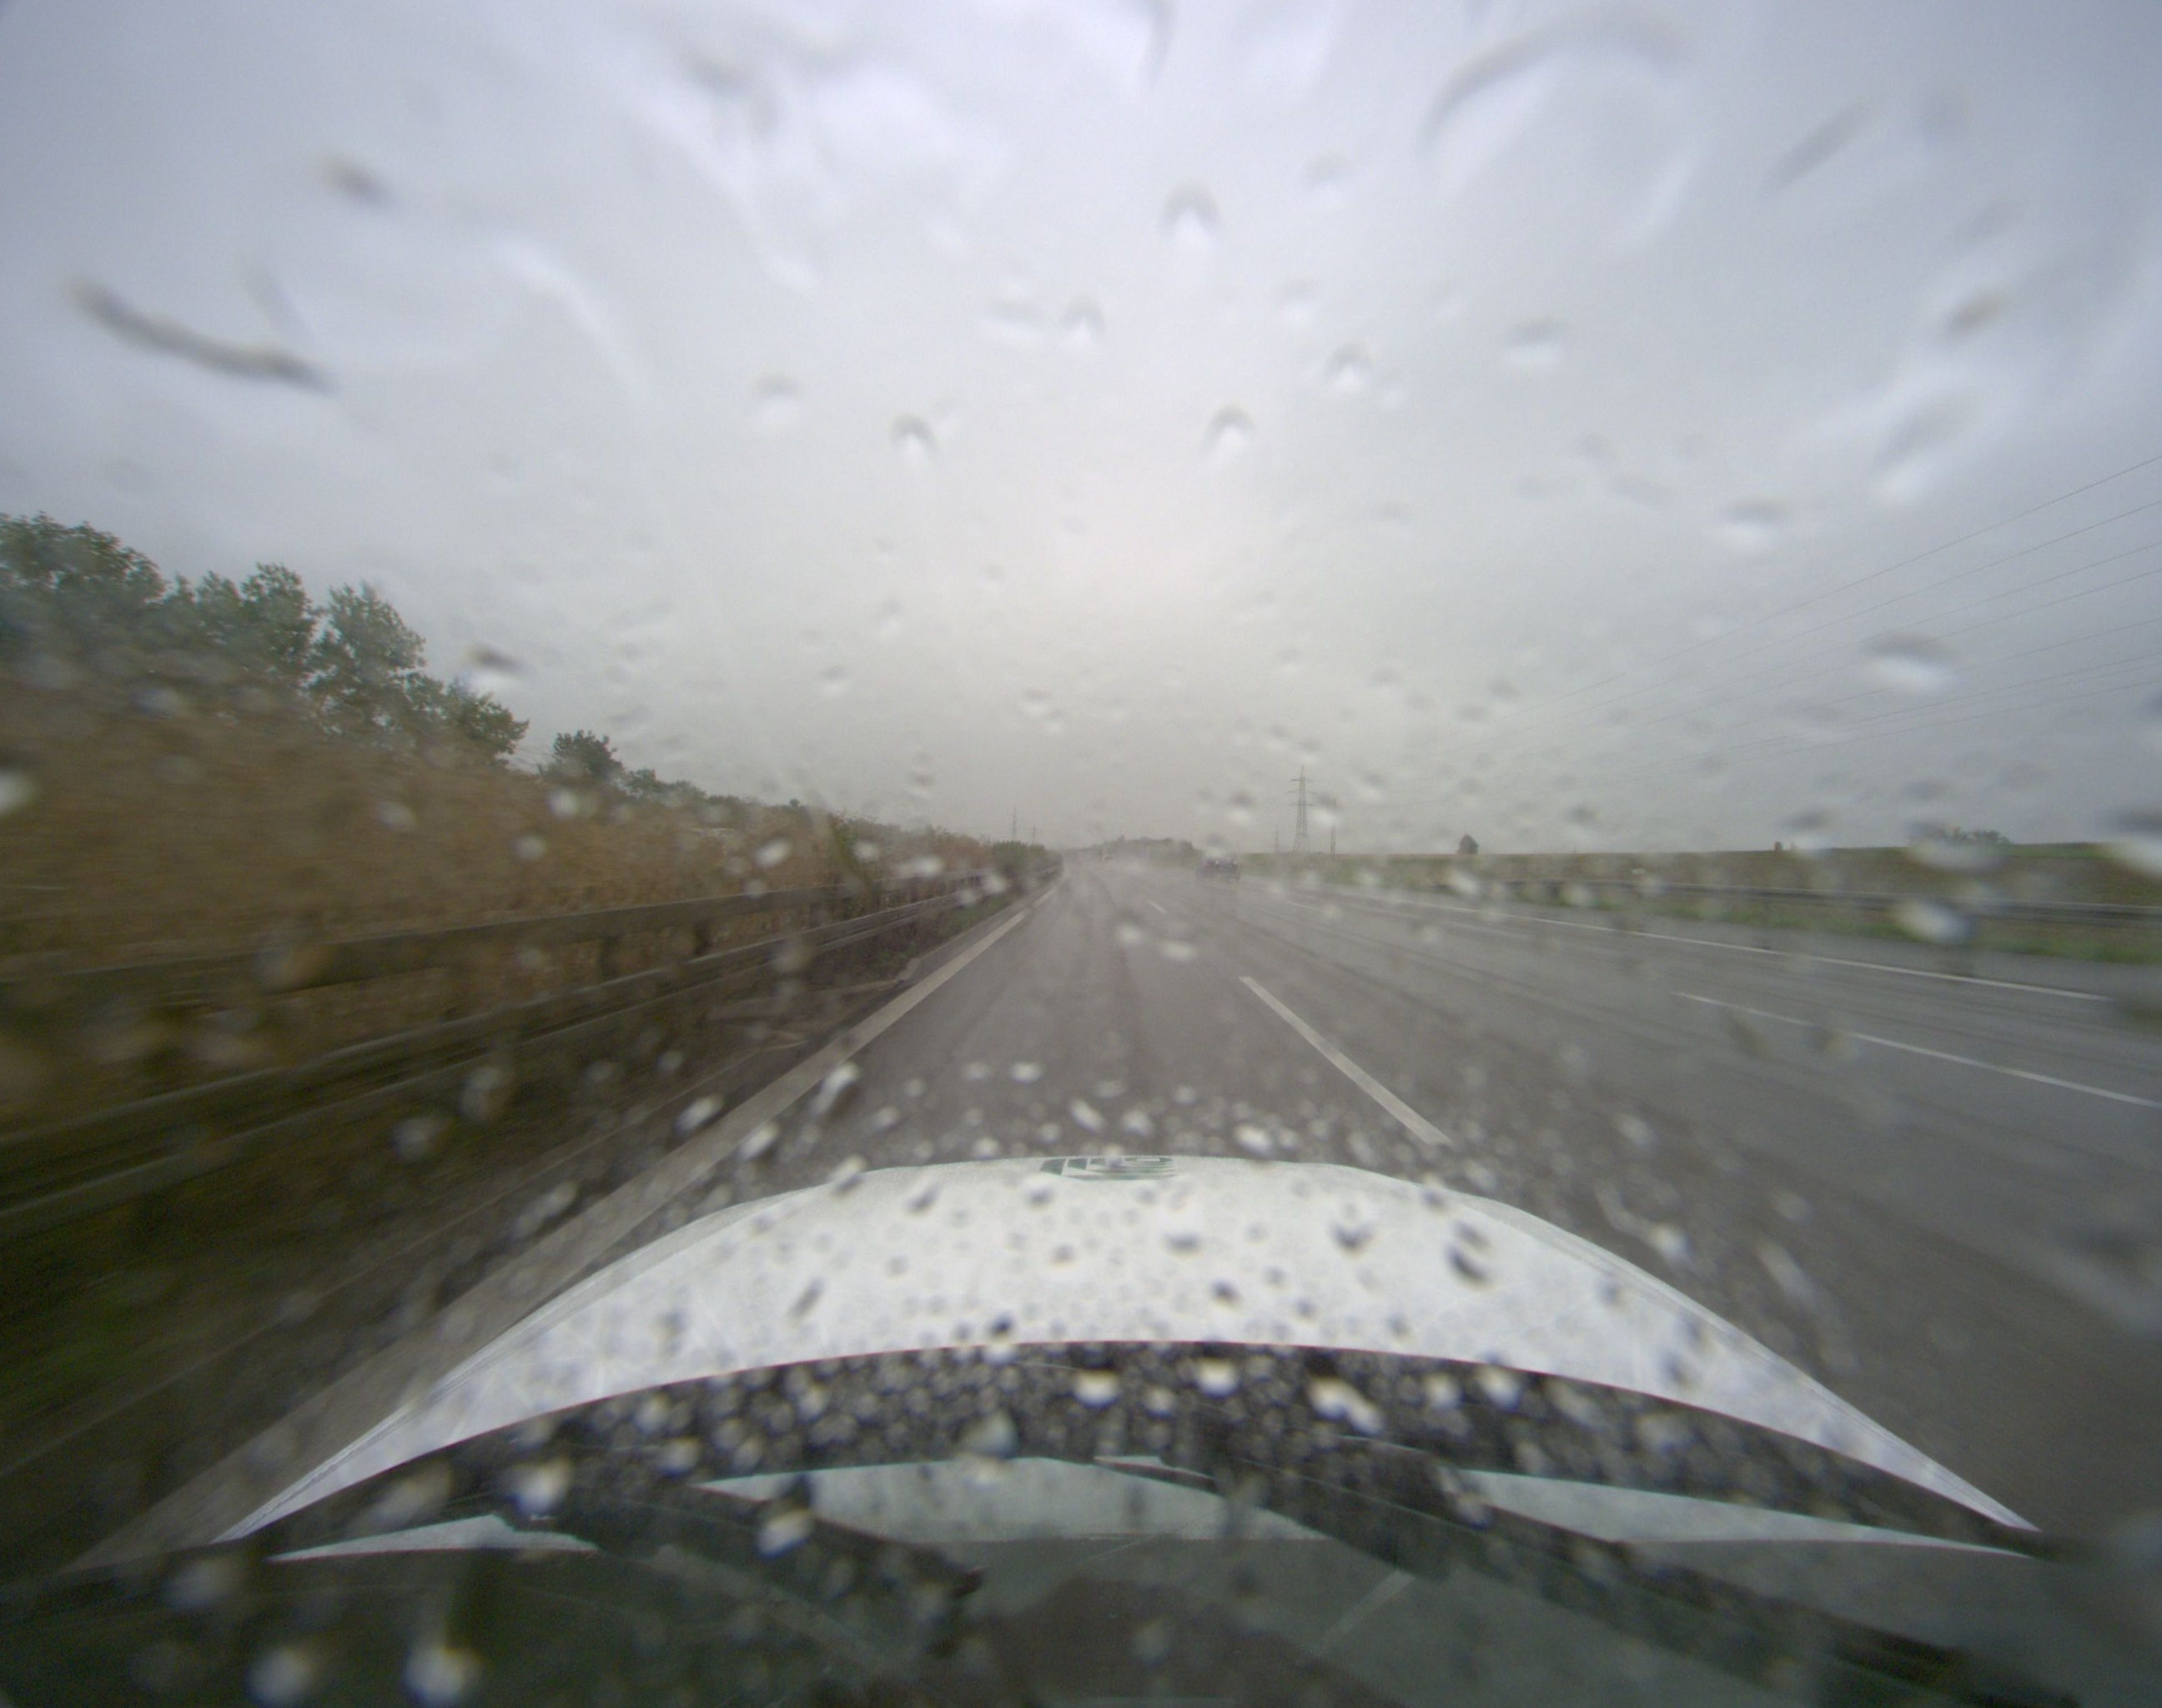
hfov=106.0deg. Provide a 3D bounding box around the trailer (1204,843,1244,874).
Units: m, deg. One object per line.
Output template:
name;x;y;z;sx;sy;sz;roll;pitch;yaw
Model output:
trailer;8.801;0.303;50.249;1.972;1.785;3.189;-1;-1;1

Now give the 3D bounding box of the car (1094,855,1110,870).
car;3.017;1.217;117.471;1.988;2.014;3.997;0;0;-2

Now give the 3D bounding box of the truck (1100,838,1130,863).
truck;6.800;-0.639;165.687;4.182;4.630;16.076;0;-1;-5

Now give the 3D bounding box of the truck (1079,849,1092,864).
truck;1.212;0.614;239.895;3.226;4.311;8.824;0;0;-4

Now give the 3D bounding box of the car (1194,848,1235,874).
car;8.843;0.471;54.314;1.986;1.619;4.993;-1;-1;1
